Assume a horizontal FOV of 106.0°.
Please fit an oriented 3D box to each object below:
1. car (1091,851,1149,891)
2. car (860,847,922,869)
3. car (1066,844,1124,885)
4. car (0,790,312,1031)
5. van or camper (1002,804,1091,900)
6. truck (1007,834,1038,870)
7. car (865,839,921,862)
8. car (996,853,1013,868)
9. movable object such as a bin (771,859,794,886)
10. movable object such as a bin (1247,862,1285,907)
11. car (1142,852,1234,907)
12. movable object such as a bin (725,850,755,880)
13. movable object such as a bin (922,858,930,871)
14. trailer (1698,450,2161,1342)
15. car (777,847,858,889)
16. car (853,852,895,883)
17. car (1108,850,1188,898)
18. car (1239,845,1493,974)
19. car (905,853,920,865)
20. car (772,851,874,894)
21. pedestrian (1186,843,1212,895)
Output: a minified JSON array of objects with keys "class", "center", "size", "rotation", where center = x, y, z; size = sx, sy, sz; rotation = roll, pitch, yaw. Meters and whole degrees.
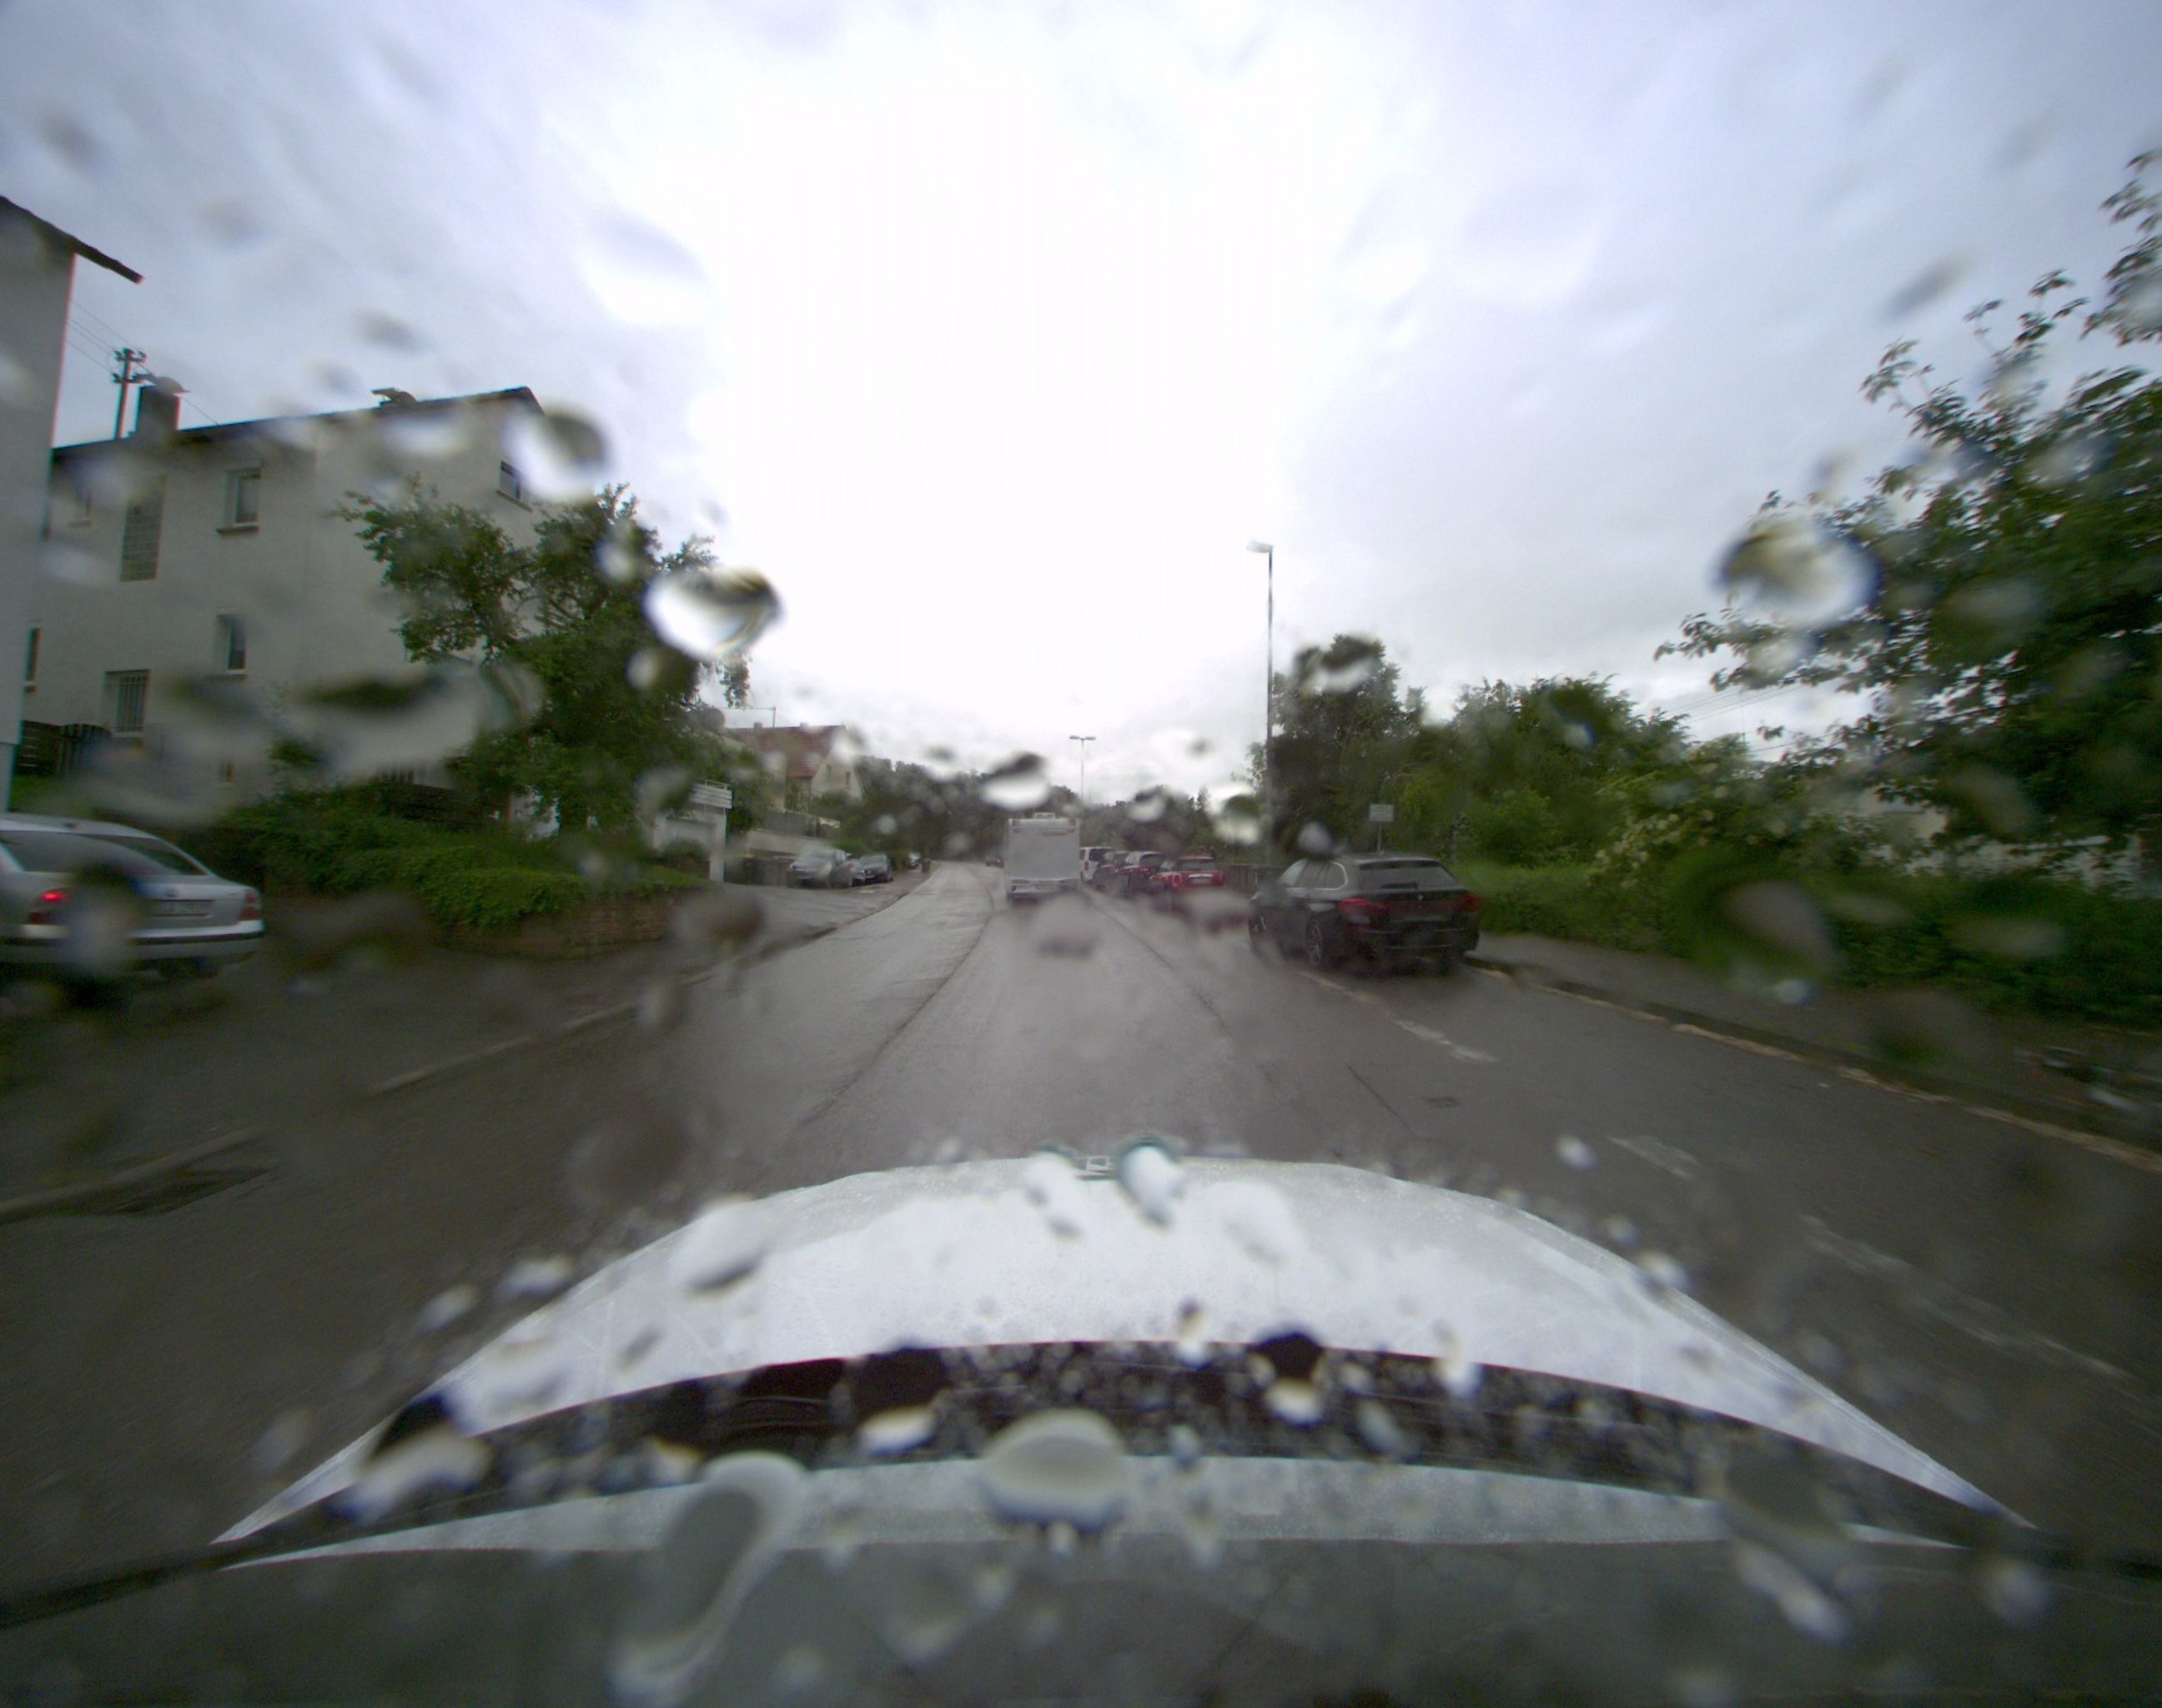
[{"class":"car","center":[1.573,0.682,34.055],"size":[1.643,1.541,4.341],"rotation":[-1,-1,-8]},{"class":"car","center":[-17.435,0.331,74.963],"size":[5.057,1.944,2.146],"rotation":[-1,0,7]},{"class":"car","center":[0.601,0.513,39.839],"size":[1.850,1.882,4.891],"rotation":[-1,-1,-11]},{"class":"car","center":[-9.671,0.313,7.294],"size":[4.226,1.431,1.771],"rotation":[9,0,11]},{"class":"van or camper","center":[-1.343,0.039,27.858],"size":[2.612,2.853,6.017],"rotation":[1,-2,-6]},{"class":"truck","center":[-5.795,-0.135,79.785],"size":[2.435,3.335,7.940],"rotation":[-1,-1,-9]},{"class":"car","center":[-15.706,-0.275,68.198],"size":[4.036,1.692,1.896],"rotation":[4,-1,4]},{"class":"car","center":[-9.030,0.735,96.042],"size":[1.935,1.672,4.682],"rotation":[-1,0,-7]},{"class":"movable object such as a bin","center":[-12.204,0.759,33.325],"size":[0.648,1.078,0.559],"rotation":[-1,0,12]},{"class":"movable object such as a bin","center":[4.704,0.763,20.755],"size":[0.712,1.093,0.847],"rotation":[0,0,-4]},{"class":"car","center":[2.987,0.686,23.426],"size":[1.734,1.414,3.843],"rotation":[-1,-1,-7]},{"class":"movable object such as a bin","center":[-12.377,0.401,29.560],"size":[0.746,1.057,0.702],"rotation":[-1,-1,7]},{"class":"movable object such as a bin","center":[-11.595,0.806,60.909],"size":[0.603,0.928,0.561],"rotation":[1,-1,-13]},{"class":"trailer","center":[3.910,0.102,1.244],"size":[1.941,2.457,5.437],"rotation":[-1,-1,2]},{"class":"car","center":[-10.017,0.525,31.324],"size":[1.761,1.376,4.244],"rotation":[3,-1,-2]},{"class":"car","center":[-11.418,0.718,45.201],"size":[1.802,1.597,4.404],"rotation":[-1,-1,-9]},{"class":"car","center":[2.230,0.665,28.420],"size":[1.815,1.506,4.711],"rotation":[-1,0,-8]},{"class":"car","center":[3.776,0.648,11.837],"size":[1.789,1.459,4.783],"rotation":[-1,0,-3]},{"class":"car","center":[-22.500,0.635,109.047],"size":[1.632,1.396,4.226],"rotation":[4,-1,-9]},{"class":"car","center":[-11.444,0.821,36.245],"size":[3.808,1.477,1.806],"rotation":[-6,-1,5]},{"class":"pedestrian","center":[3.739,0.471,25.792],"size":[0.711,1.635,0.710],"rotation":[0,0,16]}]
